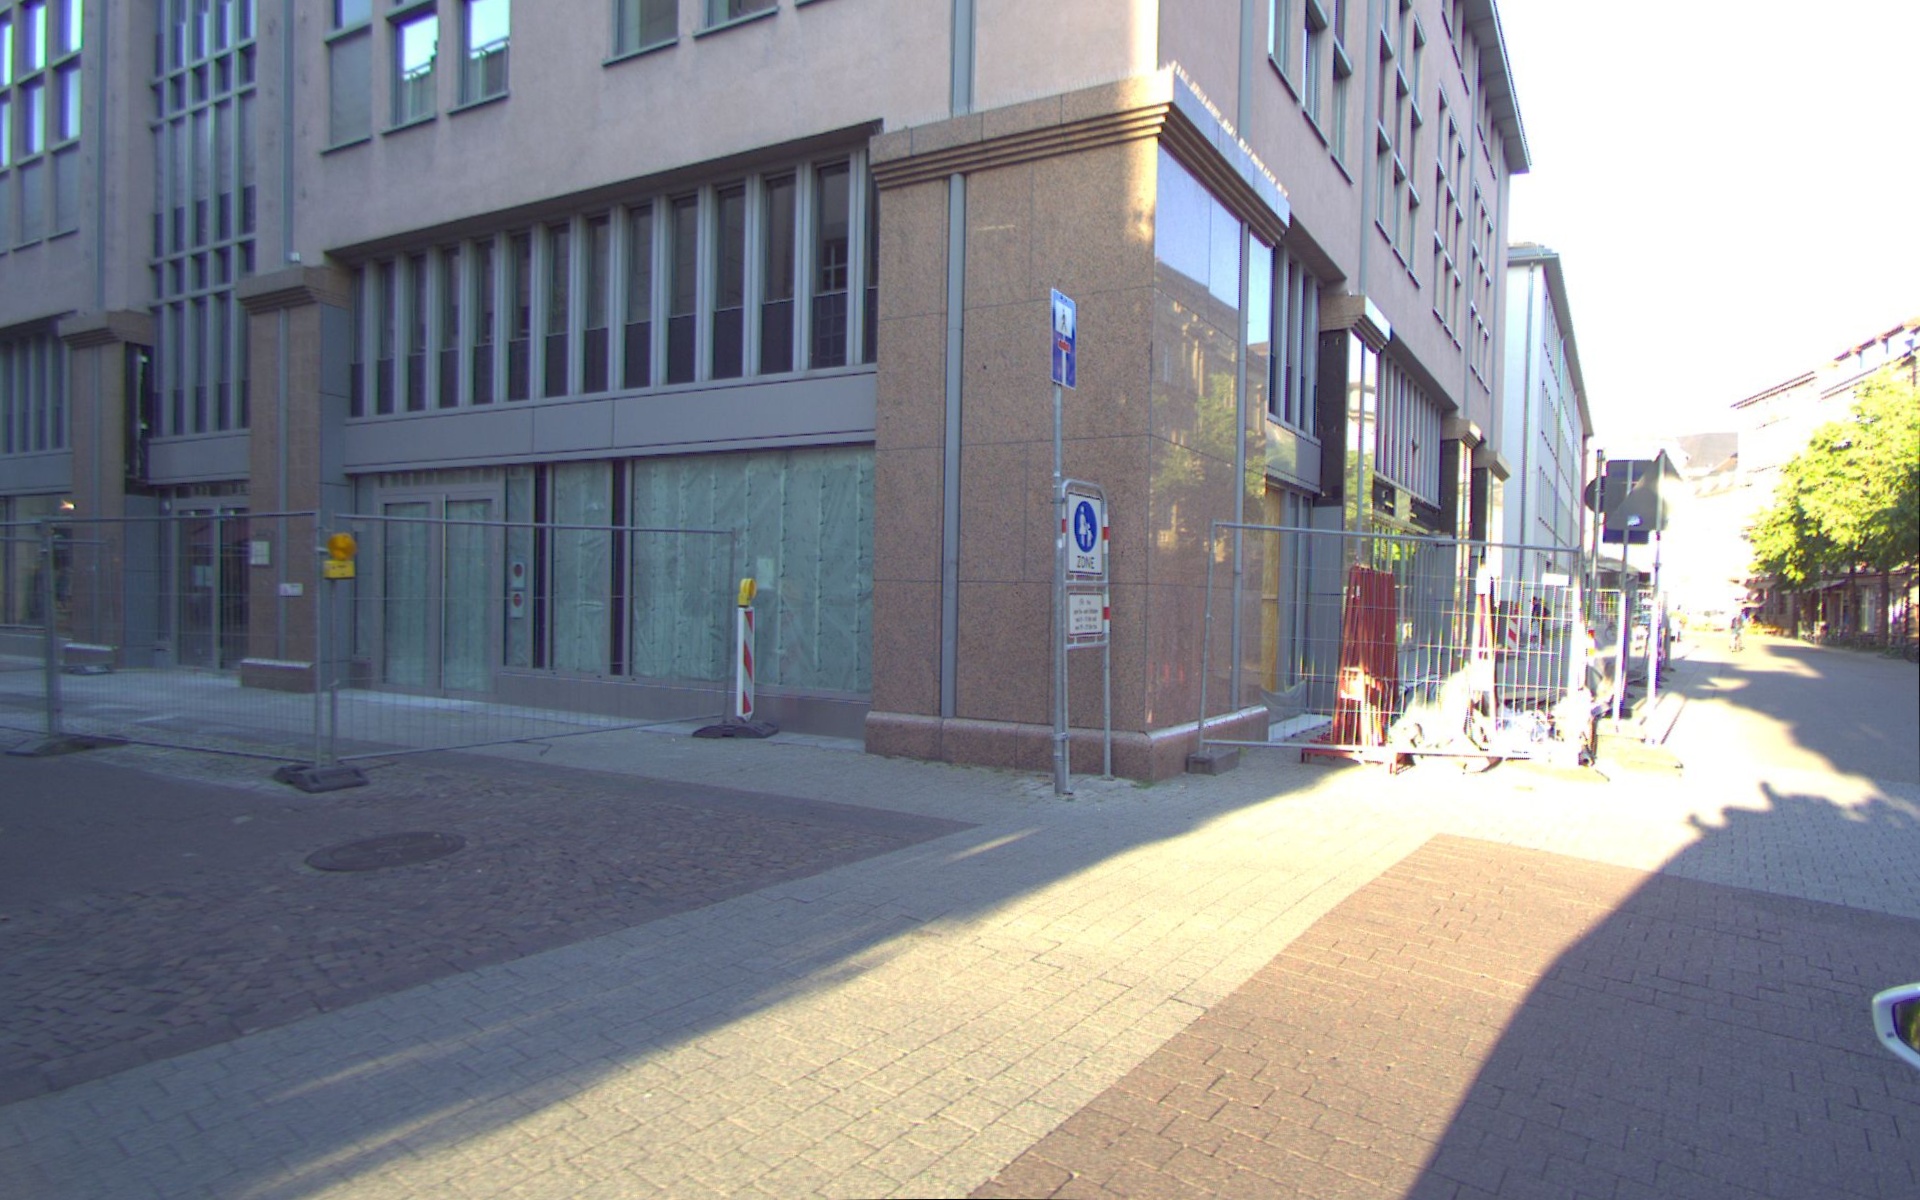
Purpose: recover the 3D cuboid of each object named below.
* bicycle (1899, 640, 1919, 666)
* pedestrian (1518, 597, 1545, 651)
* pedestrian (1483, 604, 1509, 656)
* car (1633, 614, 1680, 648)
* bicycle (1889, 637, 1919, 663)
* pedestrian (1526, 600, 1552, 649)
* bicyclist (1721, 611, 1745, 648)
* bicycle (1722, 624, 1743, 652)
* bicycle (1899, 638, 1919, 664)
[{"bbox_3d":[35.993,1.980,36.874,2.121,0.938,0.589,1,-1,30],"label":"bicycle"},{"bbox_3d":[19.414,0.807,34.131,0.647,1.787,0.630,1,0,42],"label":"pedestrian"},{"bbox_3d":[18.603,1.033,34.844,0.647,1.749,0.630,1,0,42],"label":"pedestrian"},{"bbox_3d":[36.729,1.593,53.064,1.816,1.706,3.636,1,0,32],"label":"car"},{"bbox_3d":[36.412,1.904,37.738,2.121,0.938,0.589,1,-1,30],"label":"bicycle"},{"bbox_3d":[19.894,0.830,34.515,0.647,1.673,0.630,1,0,42],"label":"pedestrian"},{"bbox_3d":[31.659,1.205,41.156,0.712,1.488,0.715,1,0,35],"label":"bicyclist"},{"bbox_3d":[31.618,1.554,41.127,0.581,1.109,2.153,1,-1,36],"label":"bicycle"},{"bbox_3d":[35.327,1.872,36.182,2.121,0.938,0.589,1,-1,30],"label":"bicycle"}]
